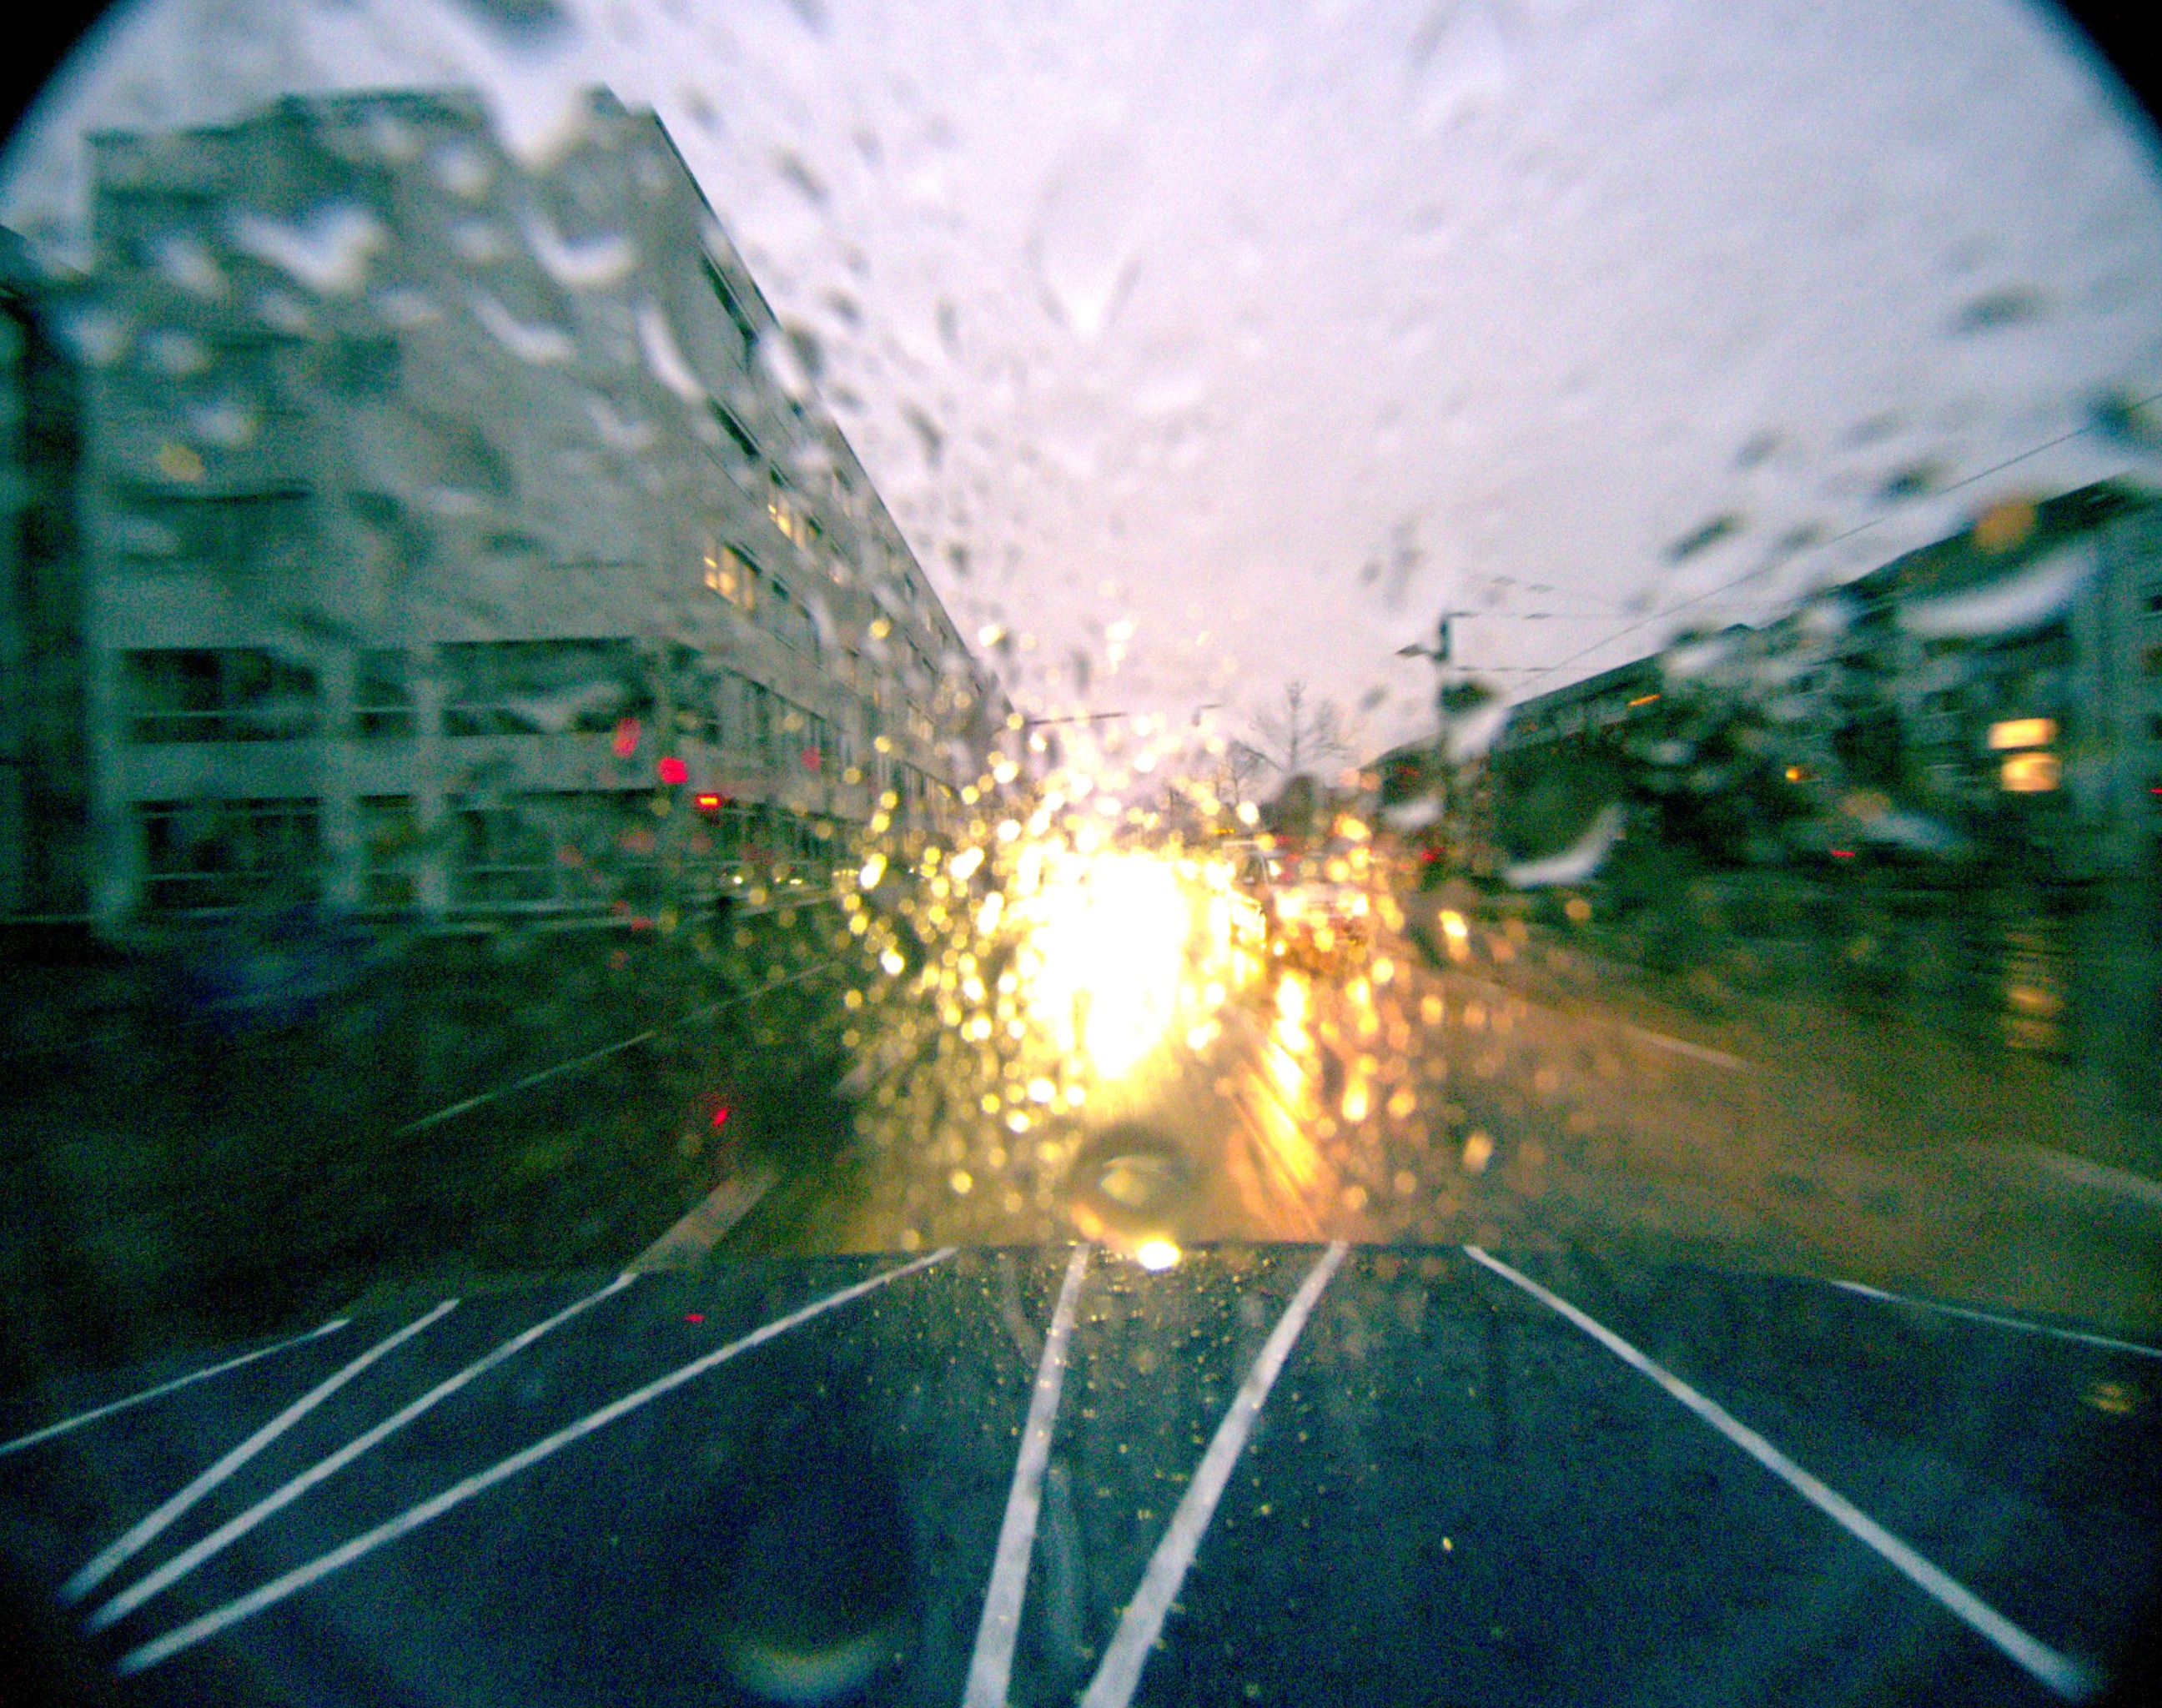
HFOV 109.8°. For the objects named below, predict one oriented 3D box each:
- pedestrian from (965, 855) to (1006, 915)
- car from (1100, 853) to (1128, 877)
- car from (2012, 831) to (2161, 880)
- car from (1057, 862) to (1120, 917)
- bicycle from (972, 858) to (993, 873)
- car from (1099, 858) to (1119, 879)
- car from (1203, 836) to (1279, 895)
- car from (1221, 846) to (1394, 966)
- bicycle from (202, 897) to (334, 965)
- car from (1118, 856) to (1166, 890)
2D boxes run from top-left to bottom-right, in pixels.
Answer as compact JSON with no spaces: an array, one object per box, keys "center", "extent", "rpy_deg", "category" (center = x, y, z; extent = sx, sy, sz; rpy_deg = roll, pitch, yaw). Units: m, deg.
[{"center":[-2.891,0.936,23.062],"extent":[0.796,1.740,0.863],"rpy_deg":[3,0,28],"category":"pedestrian"},{"center":[2.293,0.745,53.999],"extent":[1.764,1.520,3.734],"rpy_deg":[-3,1,1],"category":"car"},{"center":[33.546,0.027,25.057],"extent":[3.809,1.359,1.697],"rpy_deg":[-3,1,-4],"category":"car"},{"center":[0.272,1.060,23.918],"extent":[1.757,1.418,3.804],"rpy_deg":[-3,1,2],"category":"car"},{"center":[-8.374,0.967,64.819],"extent":[0.823,1.266,2.461],"rpy_deg":[2,0,17],"category":"bicycle"},{"center":[2.682,1.325,72.172],"extent":[1.691,1.780,3.645],"rpy_deg":[-3,1,0],"category":"car"},{"center":[6.149,0.412,29.762],"extent":[1.957,2.021,4.883],"rpy_deg":[-2,0,1],"category":"car"},{"center":[3.742,0.767,13.353],"extent":[2.020,1.667,4.000],"rpy_deg":[-3,1,4],"category":"car"},{"center":[-15.456,1.433,14.515],"extent":[0.471,1.098,1.875],"rpy_deg":[-1,0,0],"category":"bicycle"},{"center":[3.050,0.926,38.696],"extent":[1.975,1.492,4.091],"rpy_deg":[-3,0,-1],"category":"car"}]
